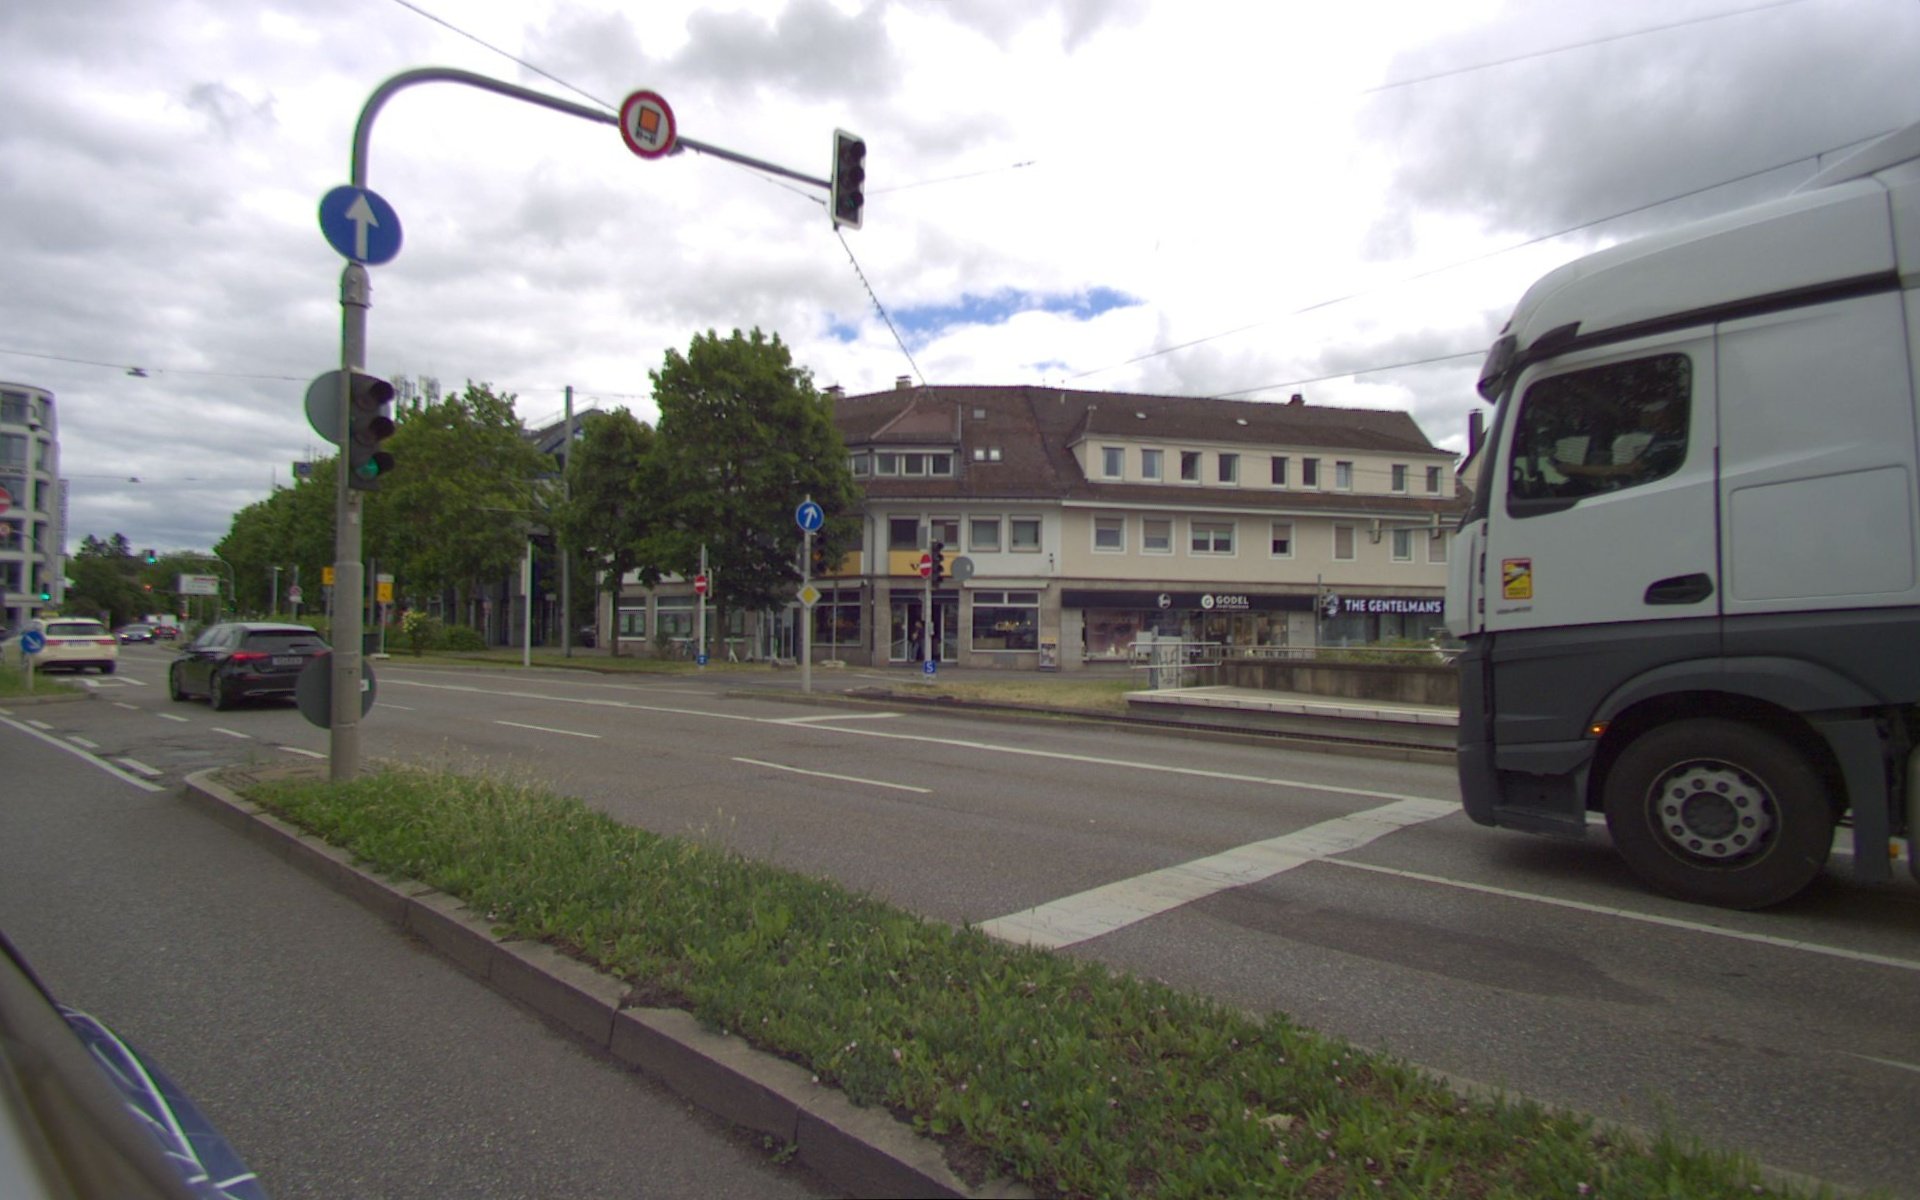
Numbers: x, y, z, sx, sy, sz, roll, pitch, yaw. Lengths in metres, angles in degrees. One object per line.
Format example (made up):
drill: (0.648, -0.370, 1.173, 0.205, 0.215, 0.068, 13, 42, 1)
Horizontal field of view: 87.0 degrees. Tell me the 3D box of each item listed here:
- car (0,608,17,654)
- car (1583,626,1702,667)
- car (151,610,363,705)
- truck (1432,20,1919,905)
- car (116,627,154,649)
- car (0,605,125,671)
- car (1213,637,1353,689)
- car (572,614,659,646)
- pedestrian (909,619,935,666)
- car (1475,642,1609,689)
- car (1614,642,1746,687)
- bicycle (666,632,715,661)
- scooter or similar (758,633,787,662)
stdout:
car: (-35.498, 1.091, 36.104, 4.765, 1.606, 1.931, -1, -2, 37)
car: (29.076, 1.972, 43.161, 4.006, 1.664, 2.005, 1, -2, -12)
car: (-12.544, 0.943, 17.934, 4.770, 1.470, 1.973, -1, -2, 41)
truck: (6.120, -0.621, 5.027, 3.055, 4.053, 6.159, 2, -3, -45)
car: (-60.189, 2.753, 73.814, 1.925, 1.483, 4.549, 2, -2, -41)
car: (-24.220, 0.985, 27.098, 4.810, 1.606, 1.893, -1, -2, 39)
car: (10.112, 1.920, 31.610, 4.290, 1.527, 1.797, 2, -2, -32)
car: (-17.877, 1.560, 52.661, 1.992, 1.608, 3.960, -1, -2, 29)
pedestrian: (-1.503, 1.679, 40.339, 0.760, 1.836, 0.707, 2, -2, -42)
car: (21.630, 2.430, 37.699, 4.006, 1.664, 2.005, 1, -2, -12)
car: (28.077, 2.503, 39.518, 4.006, 1.664, 2.005, 1, -2, -12)
bicycle: (-9.811, 1.689, 36.903, 0.622, 0.995, 2.041, 0, -2, 21)
scooter or similar: (-6.617, 1.677, 35.765, 0.619, 0.988, 1.446, 1, -2, 7)
